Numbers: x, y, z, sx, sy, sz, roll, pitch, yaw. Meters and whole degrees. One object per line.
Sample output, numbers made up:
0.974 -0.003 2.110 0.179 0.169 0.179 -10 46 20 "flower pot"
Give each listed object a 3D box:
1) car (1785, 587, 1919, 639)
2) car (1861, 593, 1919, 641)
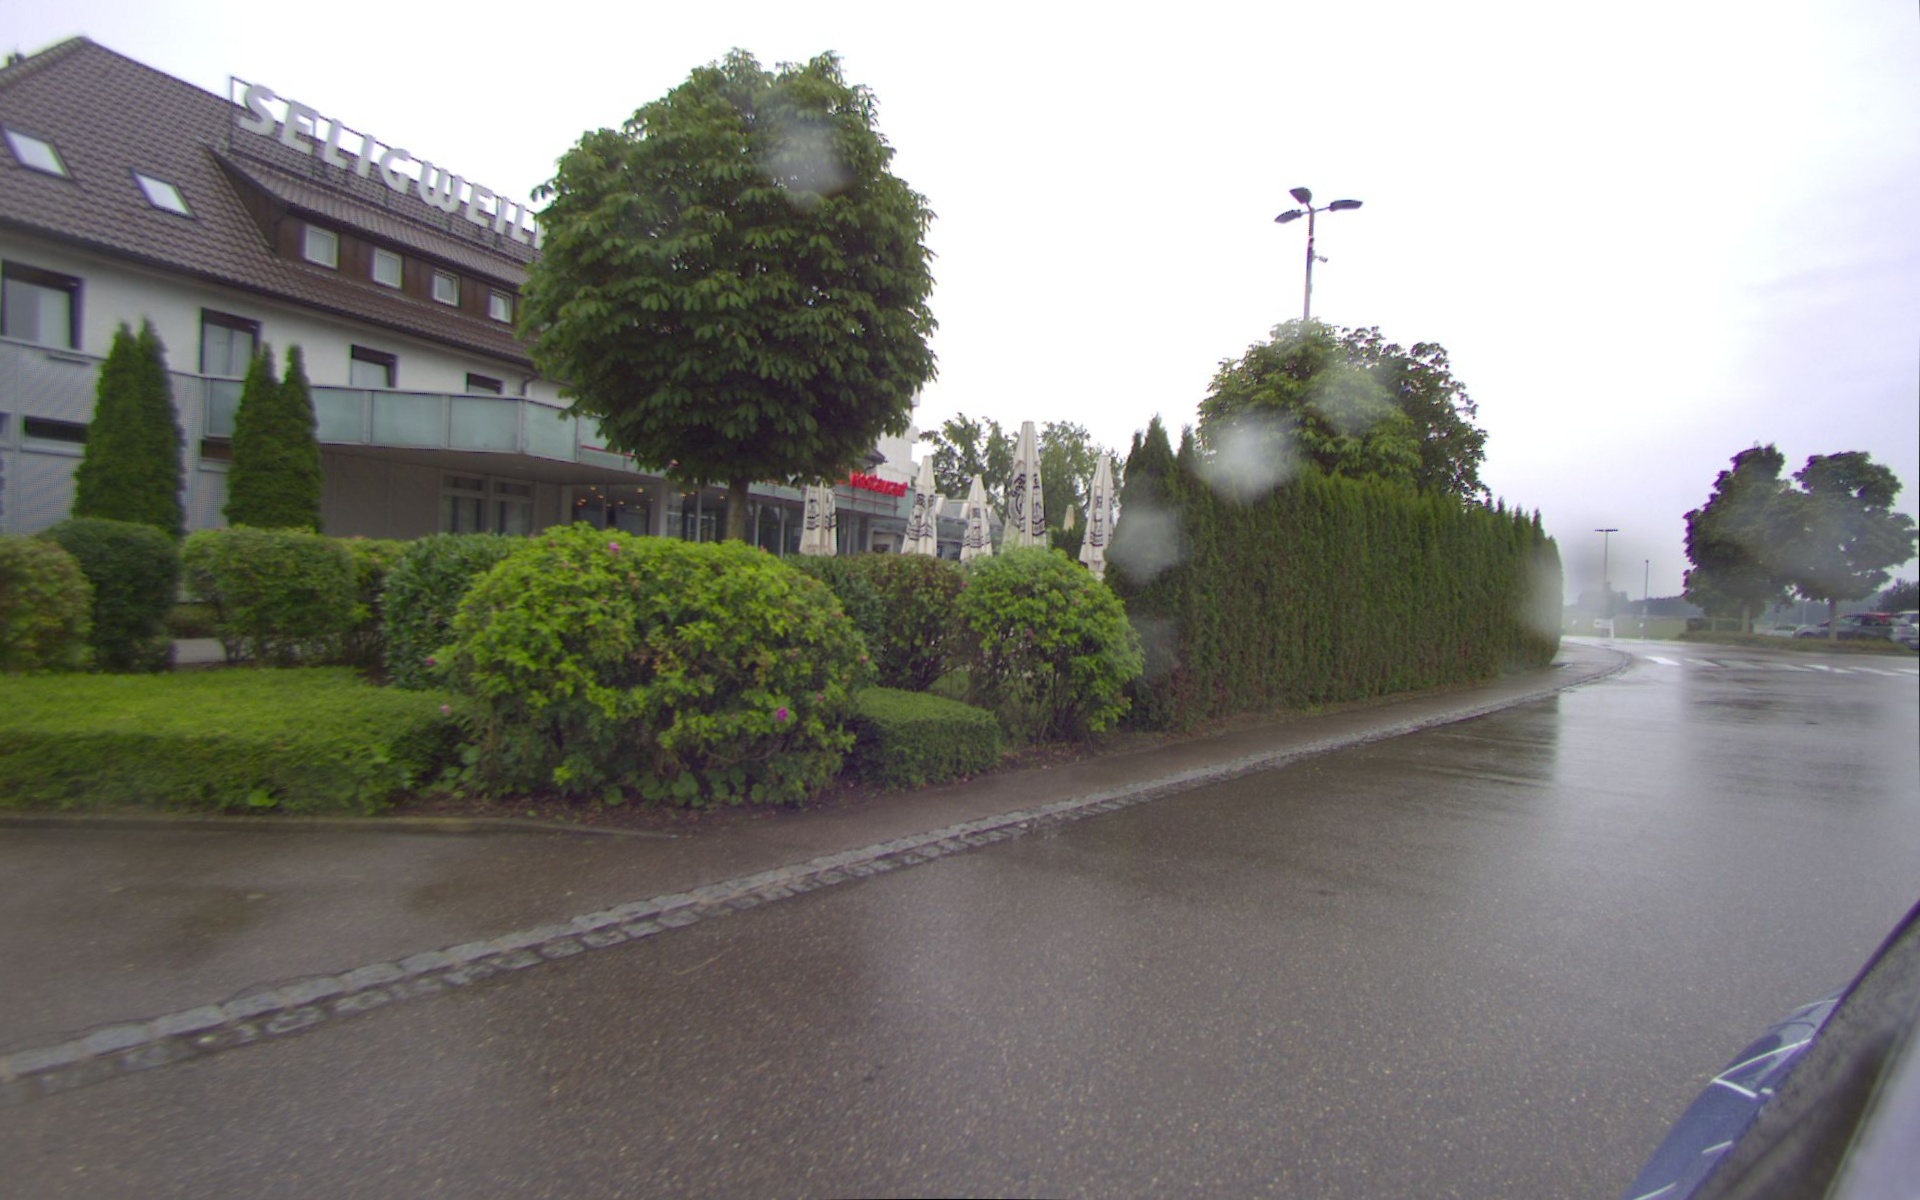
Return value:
33.147 0.431 37.193 1.762 1.714 4.058 1 2 -14 "car"
36.361 0.681 37.577 1.677 1.714 4.058 1 2 -14 "car"
